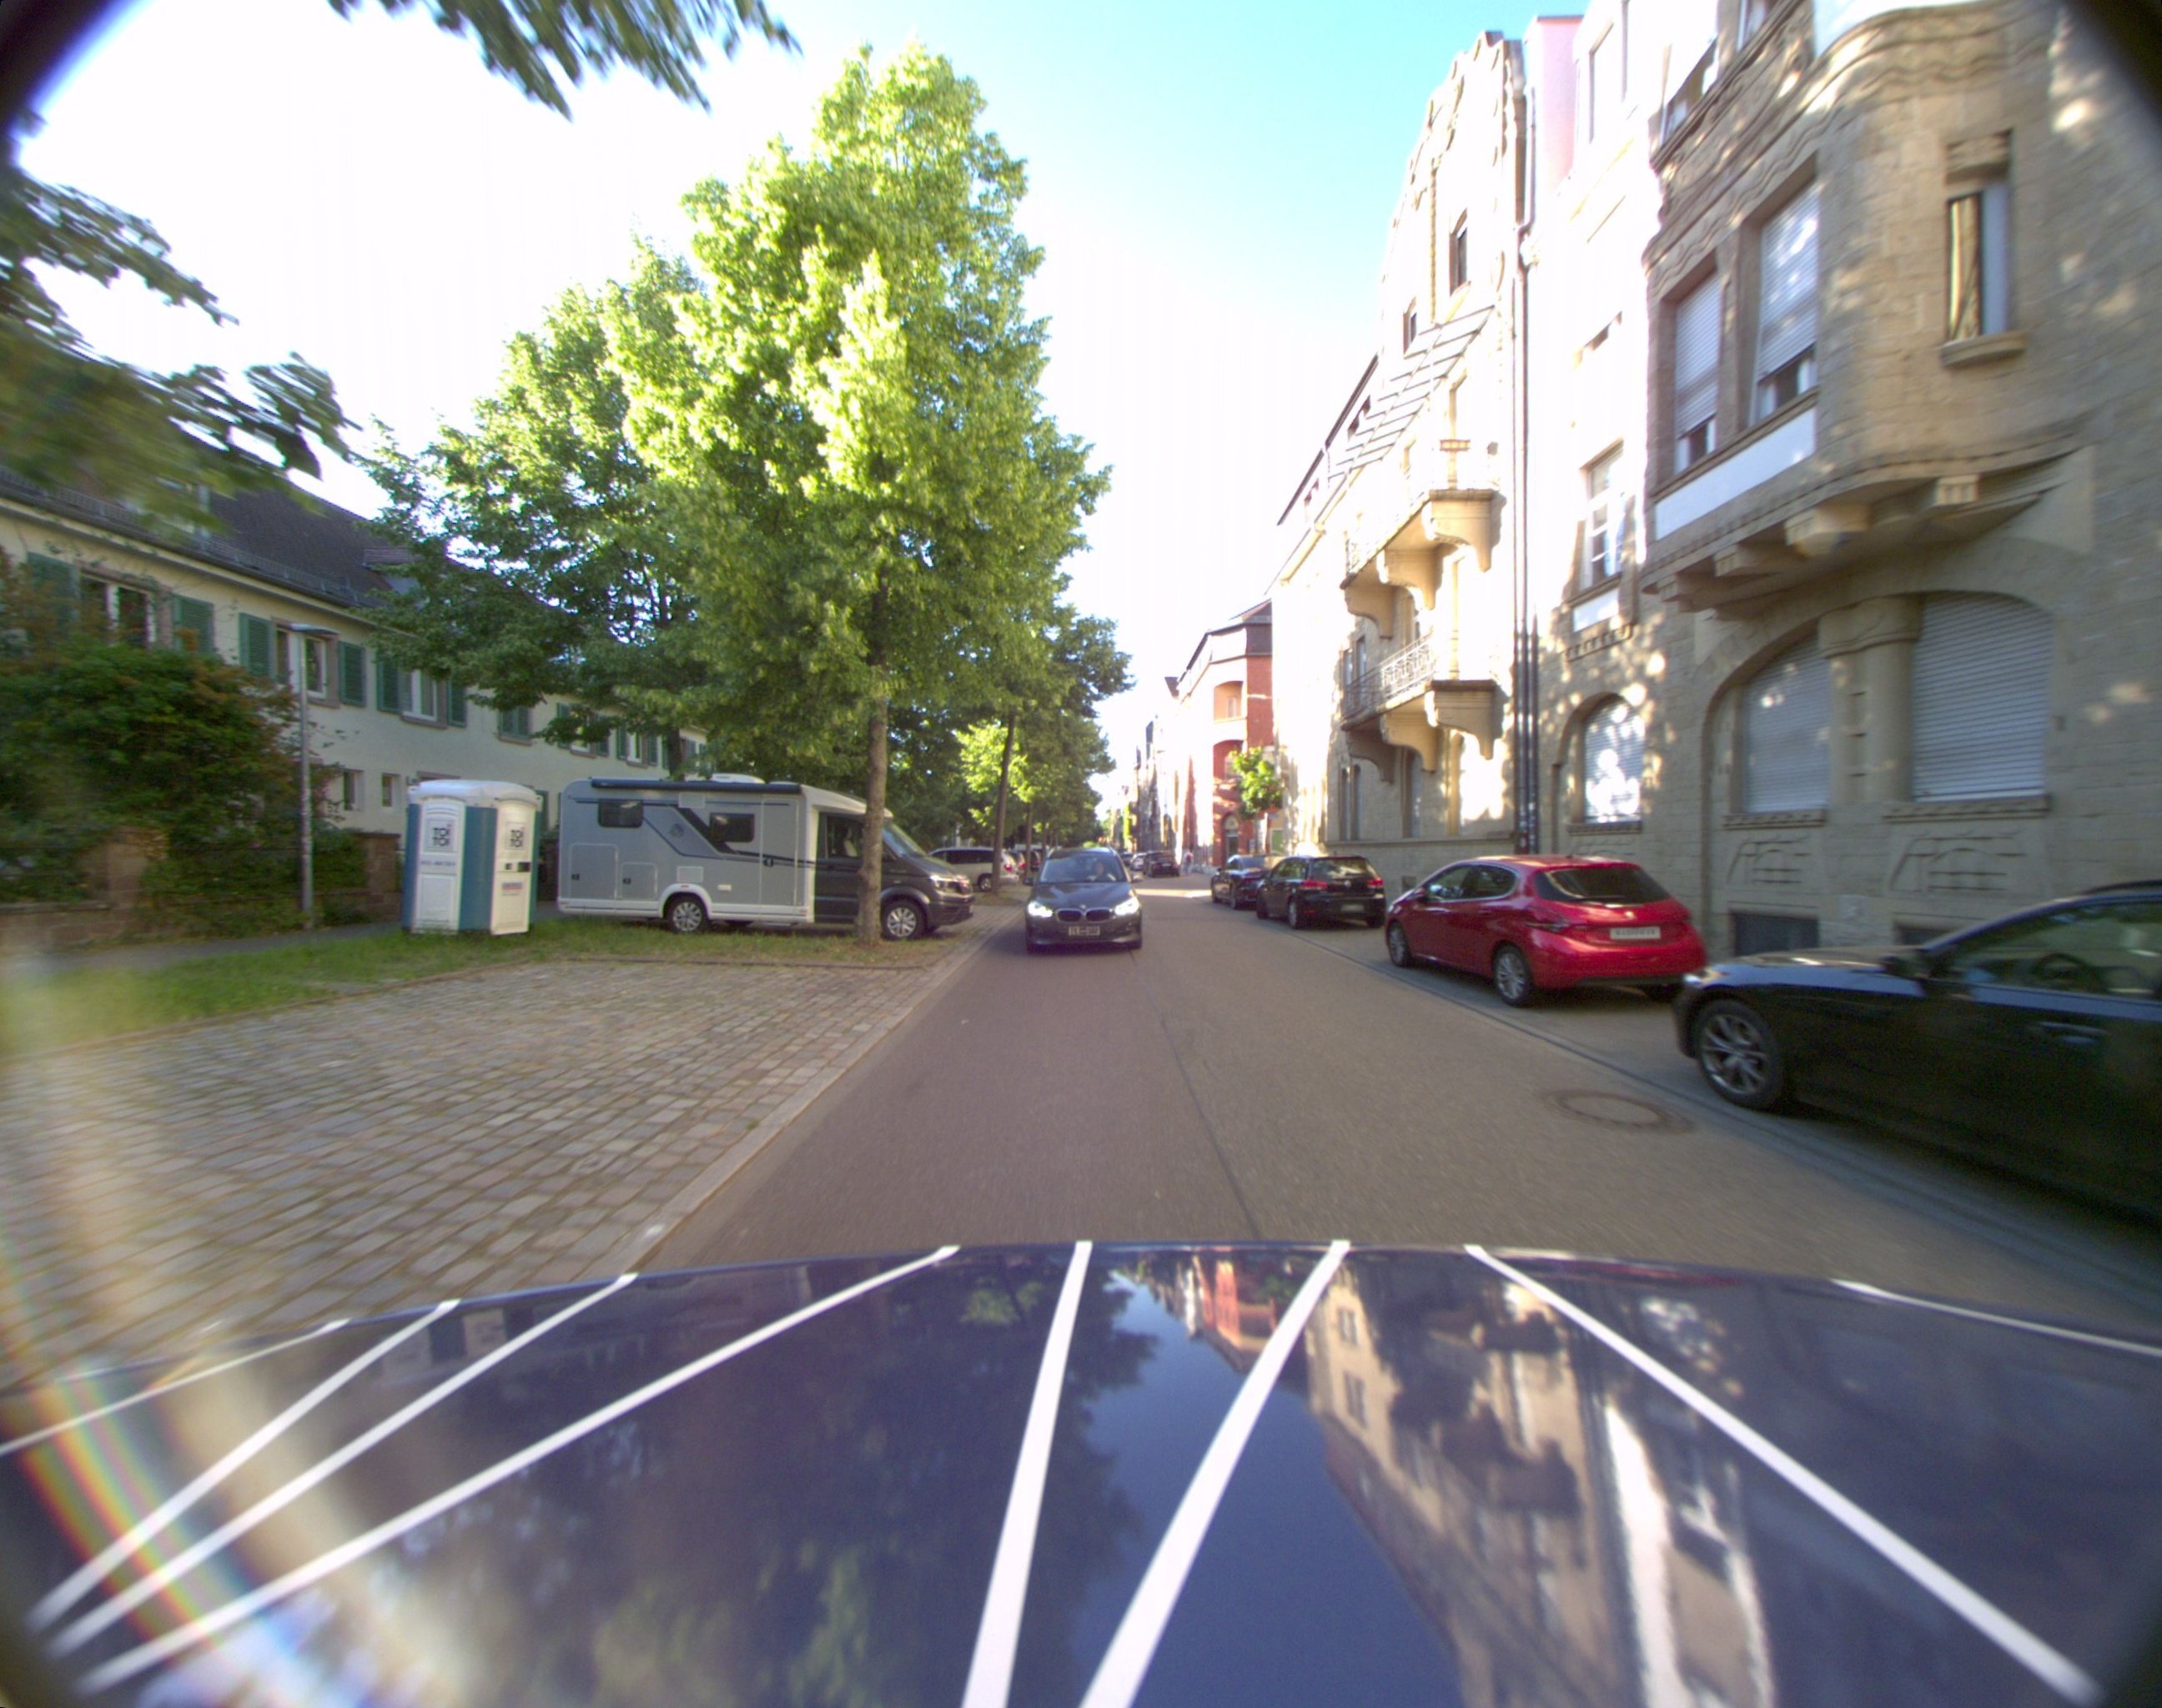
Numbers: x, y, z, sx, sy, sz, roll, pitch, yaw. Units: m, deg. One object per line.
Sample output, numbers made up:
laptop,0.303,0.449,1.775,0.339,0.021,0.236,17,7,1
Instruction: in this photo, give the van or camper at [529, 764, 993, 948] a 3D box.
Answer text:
van or camper,-5.399,0.011,13.590,7.163,2.632,2.465,3,1,2

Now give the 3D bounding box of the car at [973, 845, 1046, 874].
car,-4.737,0.346,51.009,4.592,1.667,1.907,3,1,2

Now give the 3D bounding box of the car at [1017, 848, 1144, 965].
car,0.038,0.762,13.185,1.753,1.596,4.550,-2,0,1

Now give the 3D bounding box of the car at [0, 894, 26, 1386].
car,-5.160,0.860,1.320,4.044,1.445,1.690,0,1,-3

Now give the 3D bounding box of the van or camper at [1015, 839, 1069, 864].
van or camper,-4.275,-0.292,83.604,5.734,2.502,2.162,3,1,0

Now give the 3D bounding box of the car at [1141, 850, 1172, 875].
car,5.308,0.552,53.739,1.673,1.671,4.349,-1,1,-1

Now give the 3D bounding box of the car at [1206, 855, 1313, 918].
car,4.868,0.807,21.413,1.816,1.418,4.897,-3,1,0

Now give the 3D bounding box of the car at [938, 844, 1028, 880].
car,-5.173,0.406,40.494,4.552,1.624,1.811,3,1,-5

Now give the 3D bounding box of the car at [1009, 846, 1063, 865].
car,-4.143,0.124,70.087,4.850,1.530,1.894,3,1,-1

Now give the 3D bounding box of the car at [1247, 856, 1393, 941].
car,4.770,0.807,15.772,1.700,1.445,4.026,0,1,-1

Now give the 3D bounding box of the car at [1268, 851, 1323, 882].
car,11.451,0.620,40.871,1.640,1.460,4.657,-1,1,1

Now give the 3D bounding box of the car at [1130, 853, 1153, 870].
car,5.408,0.698,68.382,1.681,1.434,4.111,-2,0,-1

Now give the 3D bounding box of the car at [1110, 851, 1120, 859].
car,6.609,0.208,146.994,1.686,1.496,3.629,-4,-1,1

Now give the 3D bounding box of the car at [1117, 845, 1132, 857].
car,5.834,-0.422,102.723,1.774,1.658,4.212,-1,1,0

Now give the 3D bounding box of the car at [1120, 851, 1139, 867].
car,5.391,0.515,84.460,1.881,1.707,4.339,-1,0,0

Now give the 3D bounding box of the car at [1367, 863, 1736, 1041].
car,4.805,0.873,8.491,1.633,1.445,3.837,-2,0,-2

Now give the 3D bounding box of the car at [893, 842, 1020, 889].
car,-4.864,0.438,30.096,4.630,1.700,1.833,2,1,2

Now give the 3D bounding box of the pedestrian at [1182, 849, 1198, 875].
pedestrian,6.989,0.506,48.907,0.890,1.568,1.053,-1,2,1

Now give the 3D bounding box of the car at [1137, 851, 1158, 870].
car,5.473,0.508,63.060,1.570,1.462,3.592,-1,0,2

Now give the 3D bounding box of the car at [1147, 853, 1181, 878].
car,5.214,0.680,48.015,1.640,1.402,4.332,-3,1,1

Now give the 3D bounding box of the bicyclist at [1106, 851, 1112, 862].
bicyclist,3.917,0.349,107.042,0.761,1.445,0.948,0,1,0

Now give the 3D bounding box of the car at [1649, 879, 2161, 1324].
car,4.607,0.906,2.777,1.679,1.422,4.550,-2,0,1

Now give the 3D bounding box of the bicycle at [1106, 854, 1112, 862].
bicycle,3.913,0.508,107.105,0.759,1.101,1.907,0,1,0

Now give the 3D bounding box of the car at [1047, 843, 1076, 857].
car,-3.719,-0.693,144.425,5.448,2.646,2.134,1,0,1
